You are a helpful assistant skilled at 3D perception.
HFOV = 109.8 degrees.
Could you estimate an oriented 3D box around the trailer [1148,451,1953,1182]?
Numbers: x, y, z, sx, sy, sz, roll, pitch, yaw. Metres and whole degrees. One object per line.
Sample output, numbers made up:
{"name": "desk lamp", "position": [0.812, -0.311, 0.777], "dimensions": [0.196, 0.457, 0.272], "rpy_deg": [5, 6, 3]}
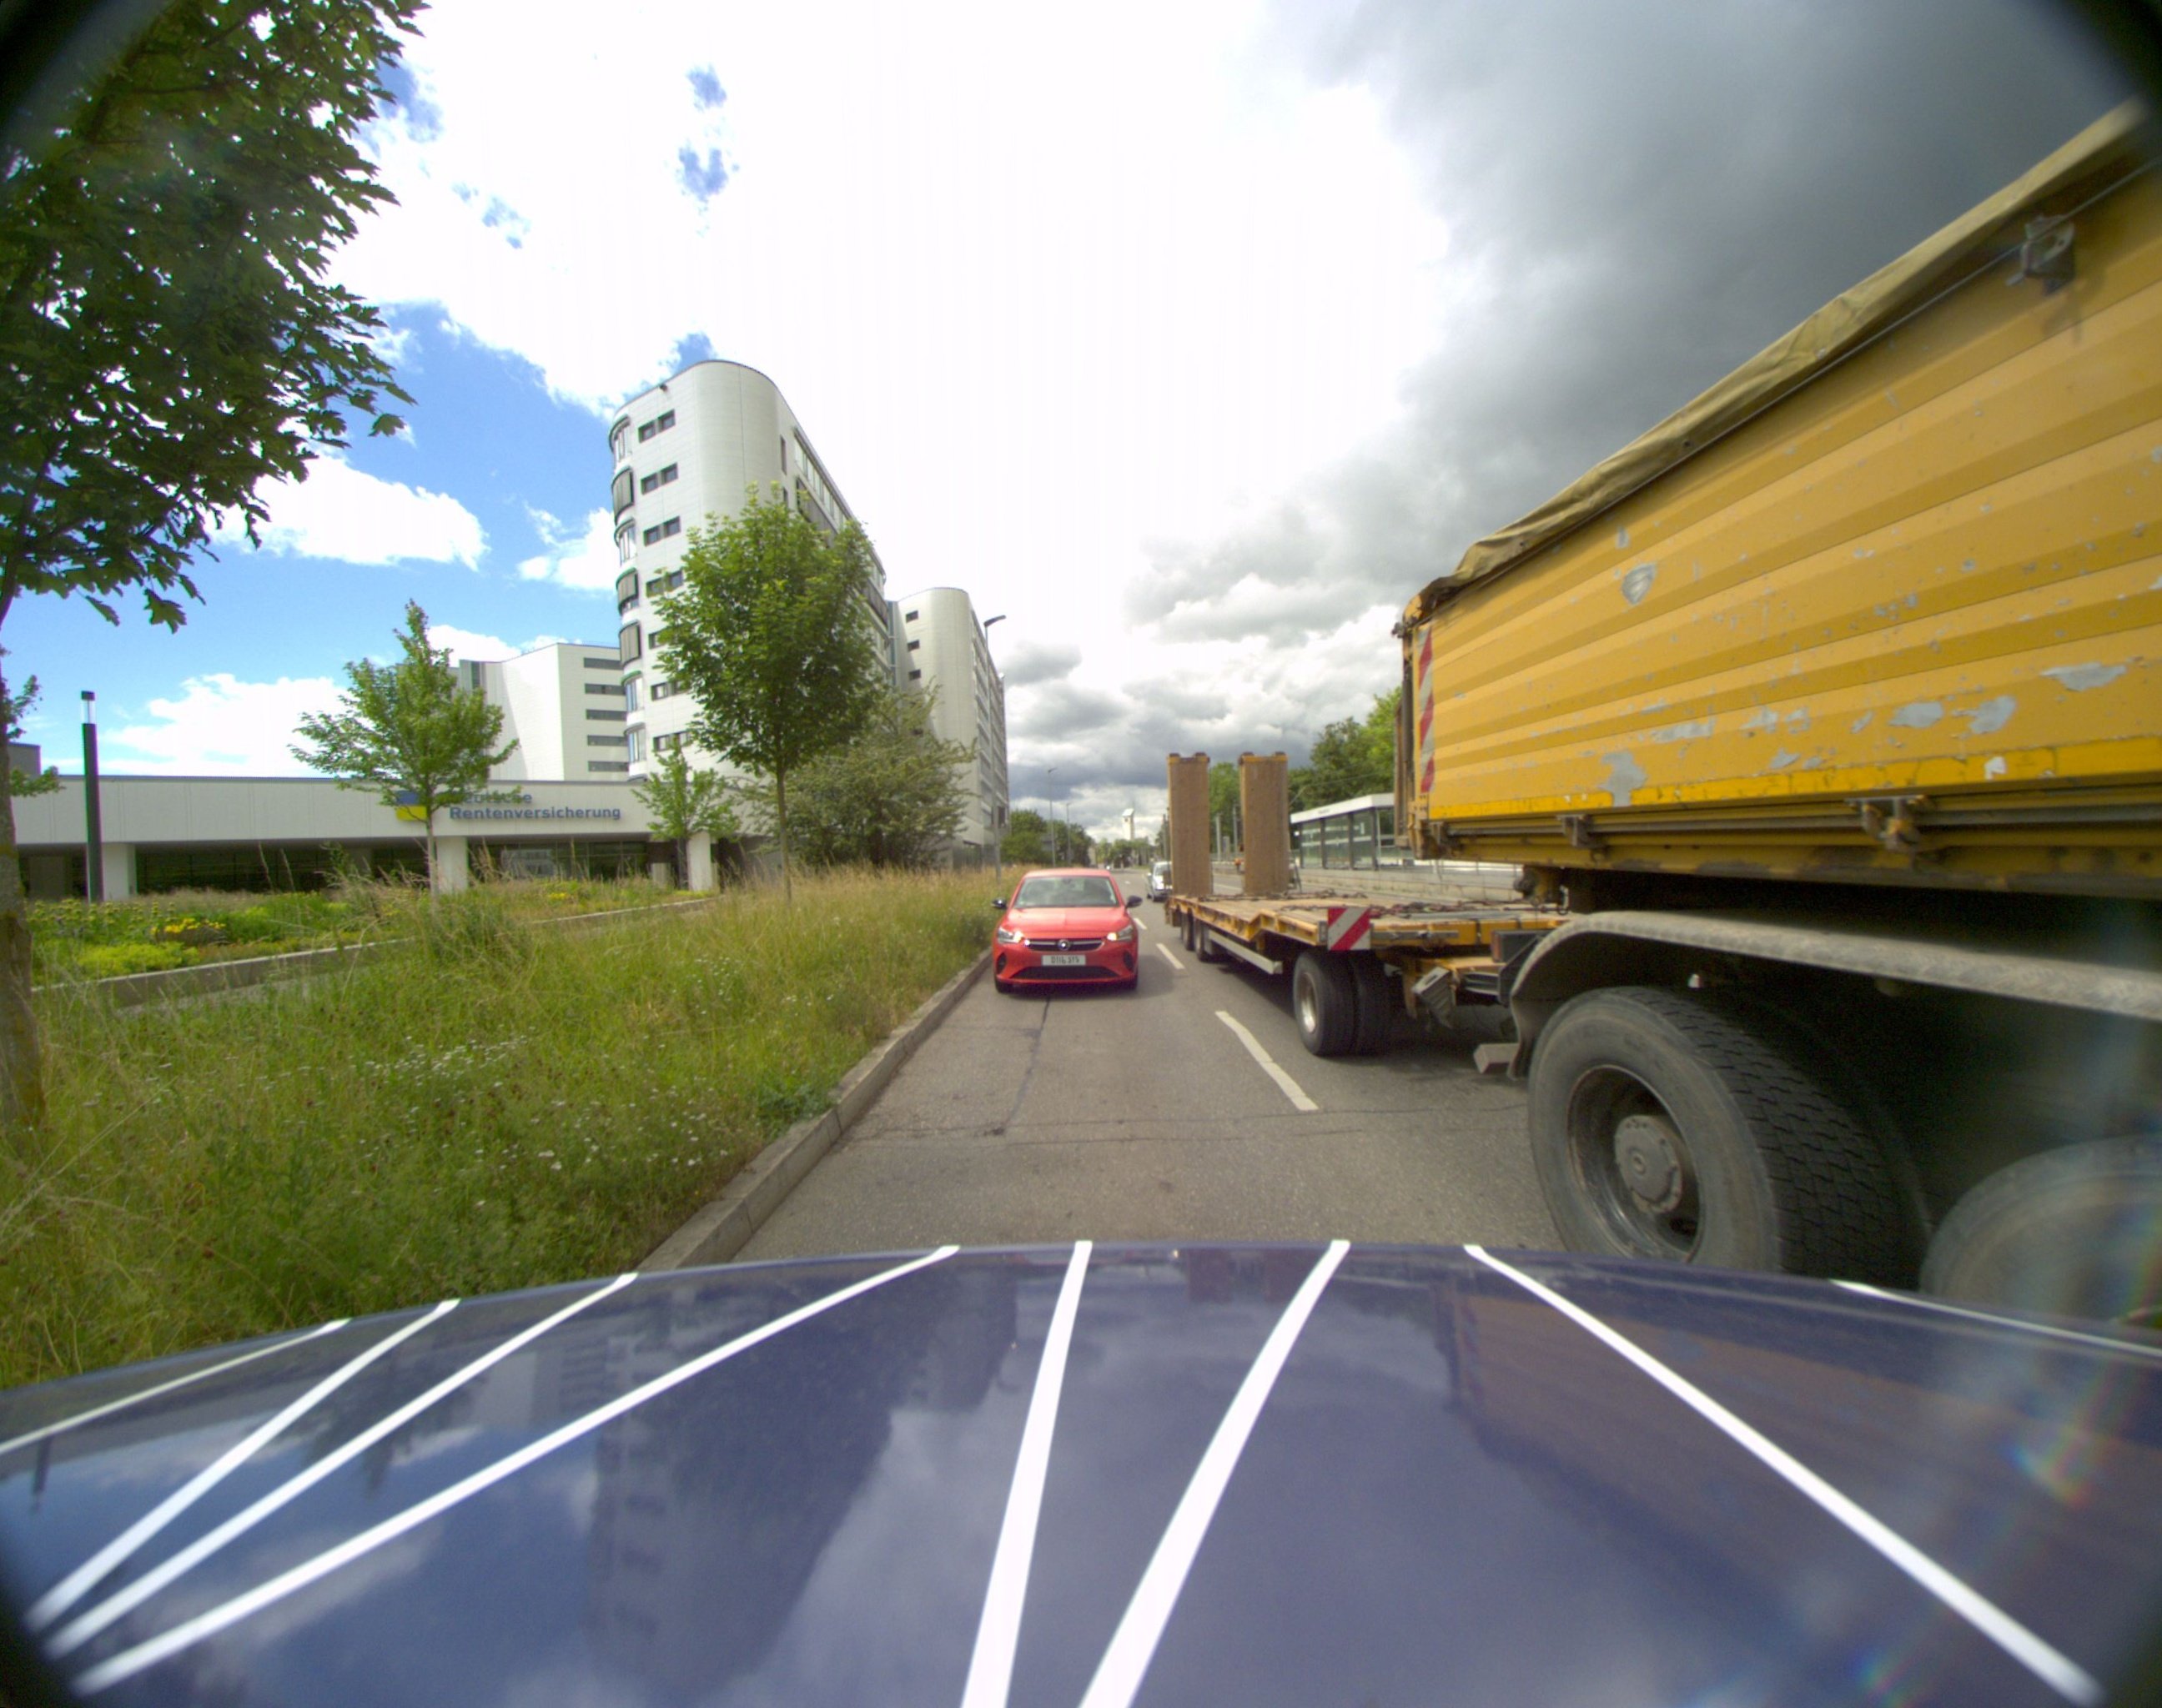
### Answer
{"name": "trailer", "position": [2.927, -0.168, 9.416], "dimensions": [3.057, 3.676, 10.965], "rpy_deg": [-2, 0, 0]}

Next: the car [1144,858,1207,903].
{"name": "car", "position": [3.300, 0.899, 27.092], "dimensions": [1.784, 1.408, 3.785], "rpy_deg": [-2, 0, 1]}

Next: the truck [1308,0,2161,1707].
{"name": "truck", "position": [2.839, -0.055, 0.115], "dimensions": [3.057, 3.374, 8.006], "rpy_deg": [-2, 0, 0]}

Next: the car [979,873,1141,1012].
{"name": "car", "position": [-0.199, 1.006, 10.100], "dimensions": [1.749, 1.408, 3.676], "rpy_deg": [-1, 0, 1]}
